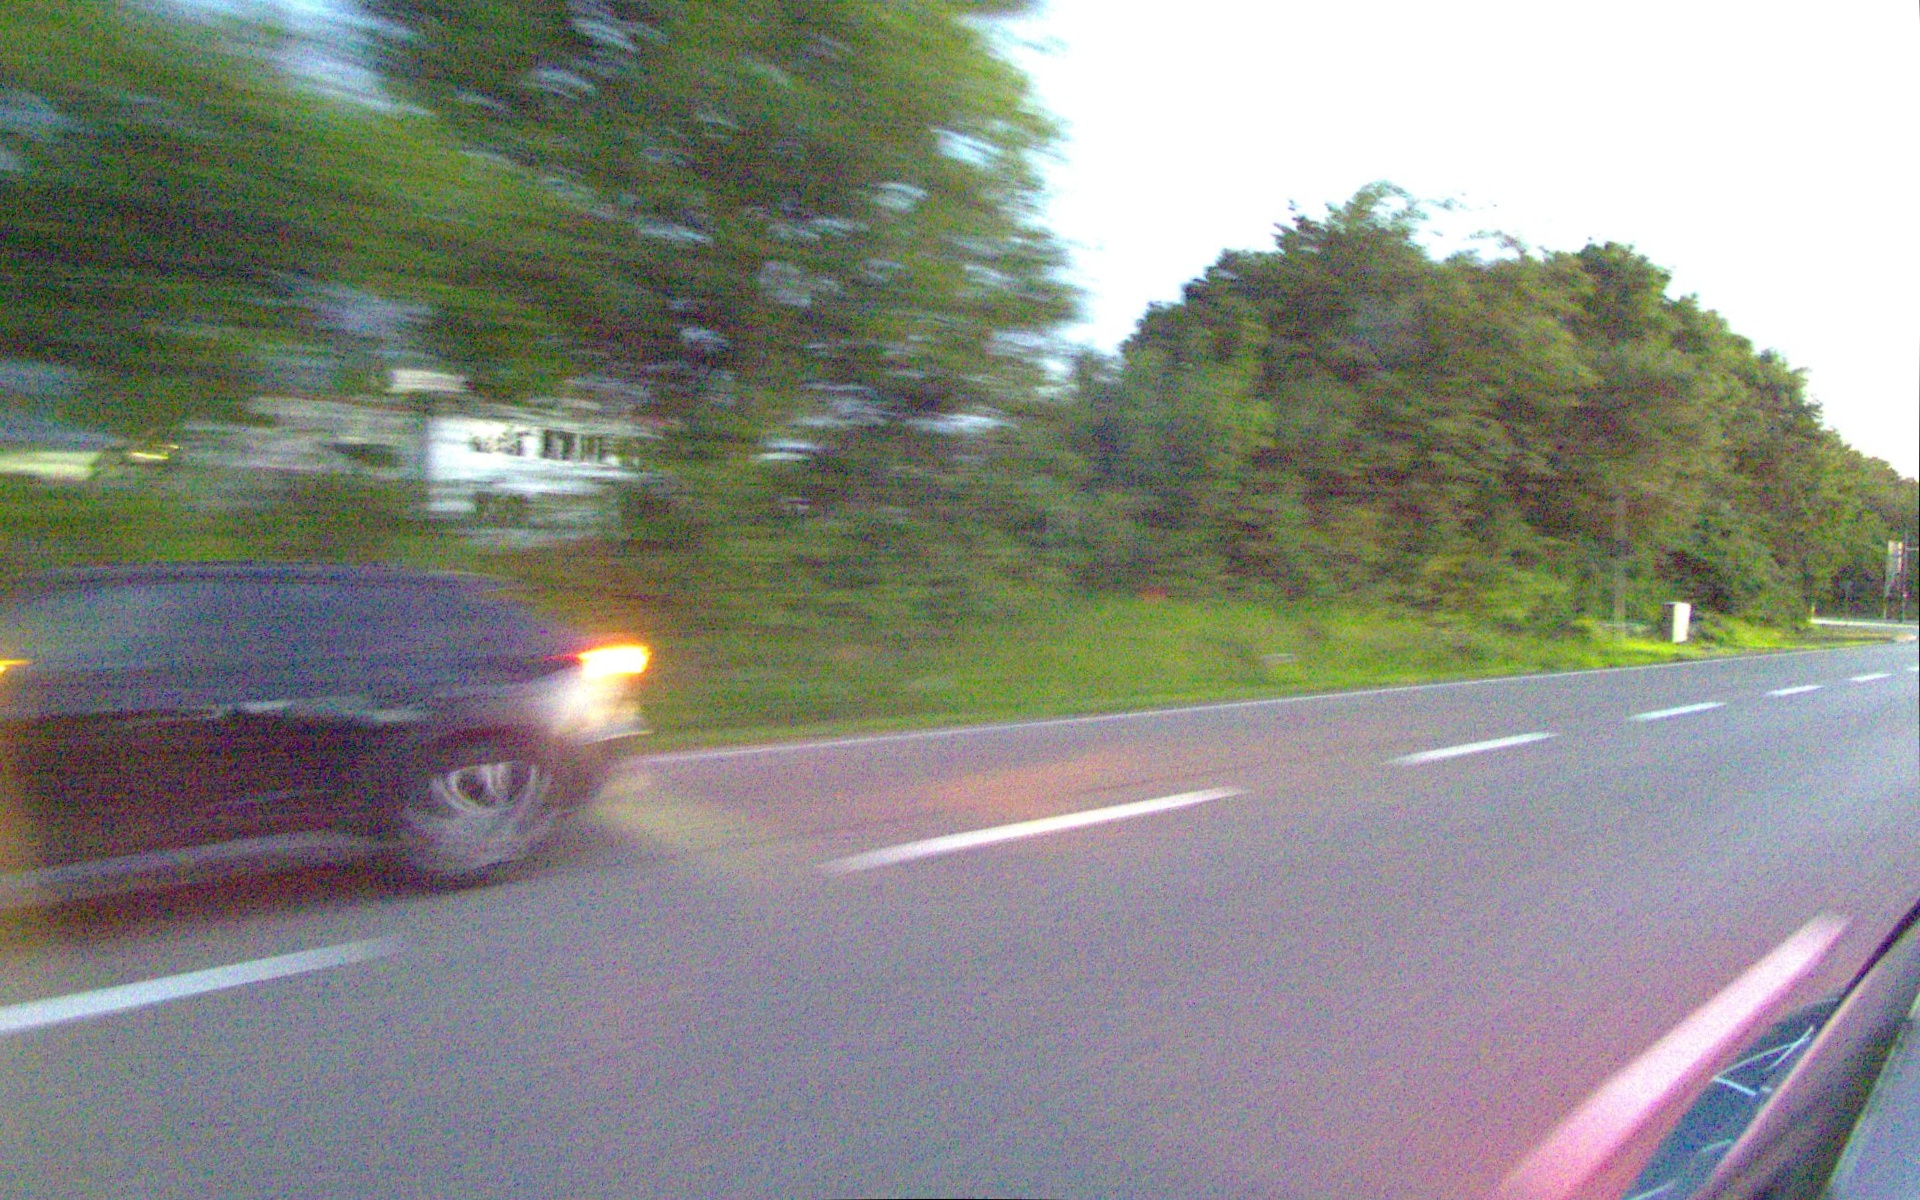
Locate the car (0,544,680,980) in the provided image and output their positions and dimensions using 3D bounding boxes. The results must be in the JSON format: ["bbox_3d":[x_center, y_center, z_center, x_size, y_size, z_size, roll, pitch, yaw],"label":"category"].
[{"bbox_3d":[-3.857,0.583,4.831,4.476,1.640,1.905,0,1,-40],"label":"car"}]
